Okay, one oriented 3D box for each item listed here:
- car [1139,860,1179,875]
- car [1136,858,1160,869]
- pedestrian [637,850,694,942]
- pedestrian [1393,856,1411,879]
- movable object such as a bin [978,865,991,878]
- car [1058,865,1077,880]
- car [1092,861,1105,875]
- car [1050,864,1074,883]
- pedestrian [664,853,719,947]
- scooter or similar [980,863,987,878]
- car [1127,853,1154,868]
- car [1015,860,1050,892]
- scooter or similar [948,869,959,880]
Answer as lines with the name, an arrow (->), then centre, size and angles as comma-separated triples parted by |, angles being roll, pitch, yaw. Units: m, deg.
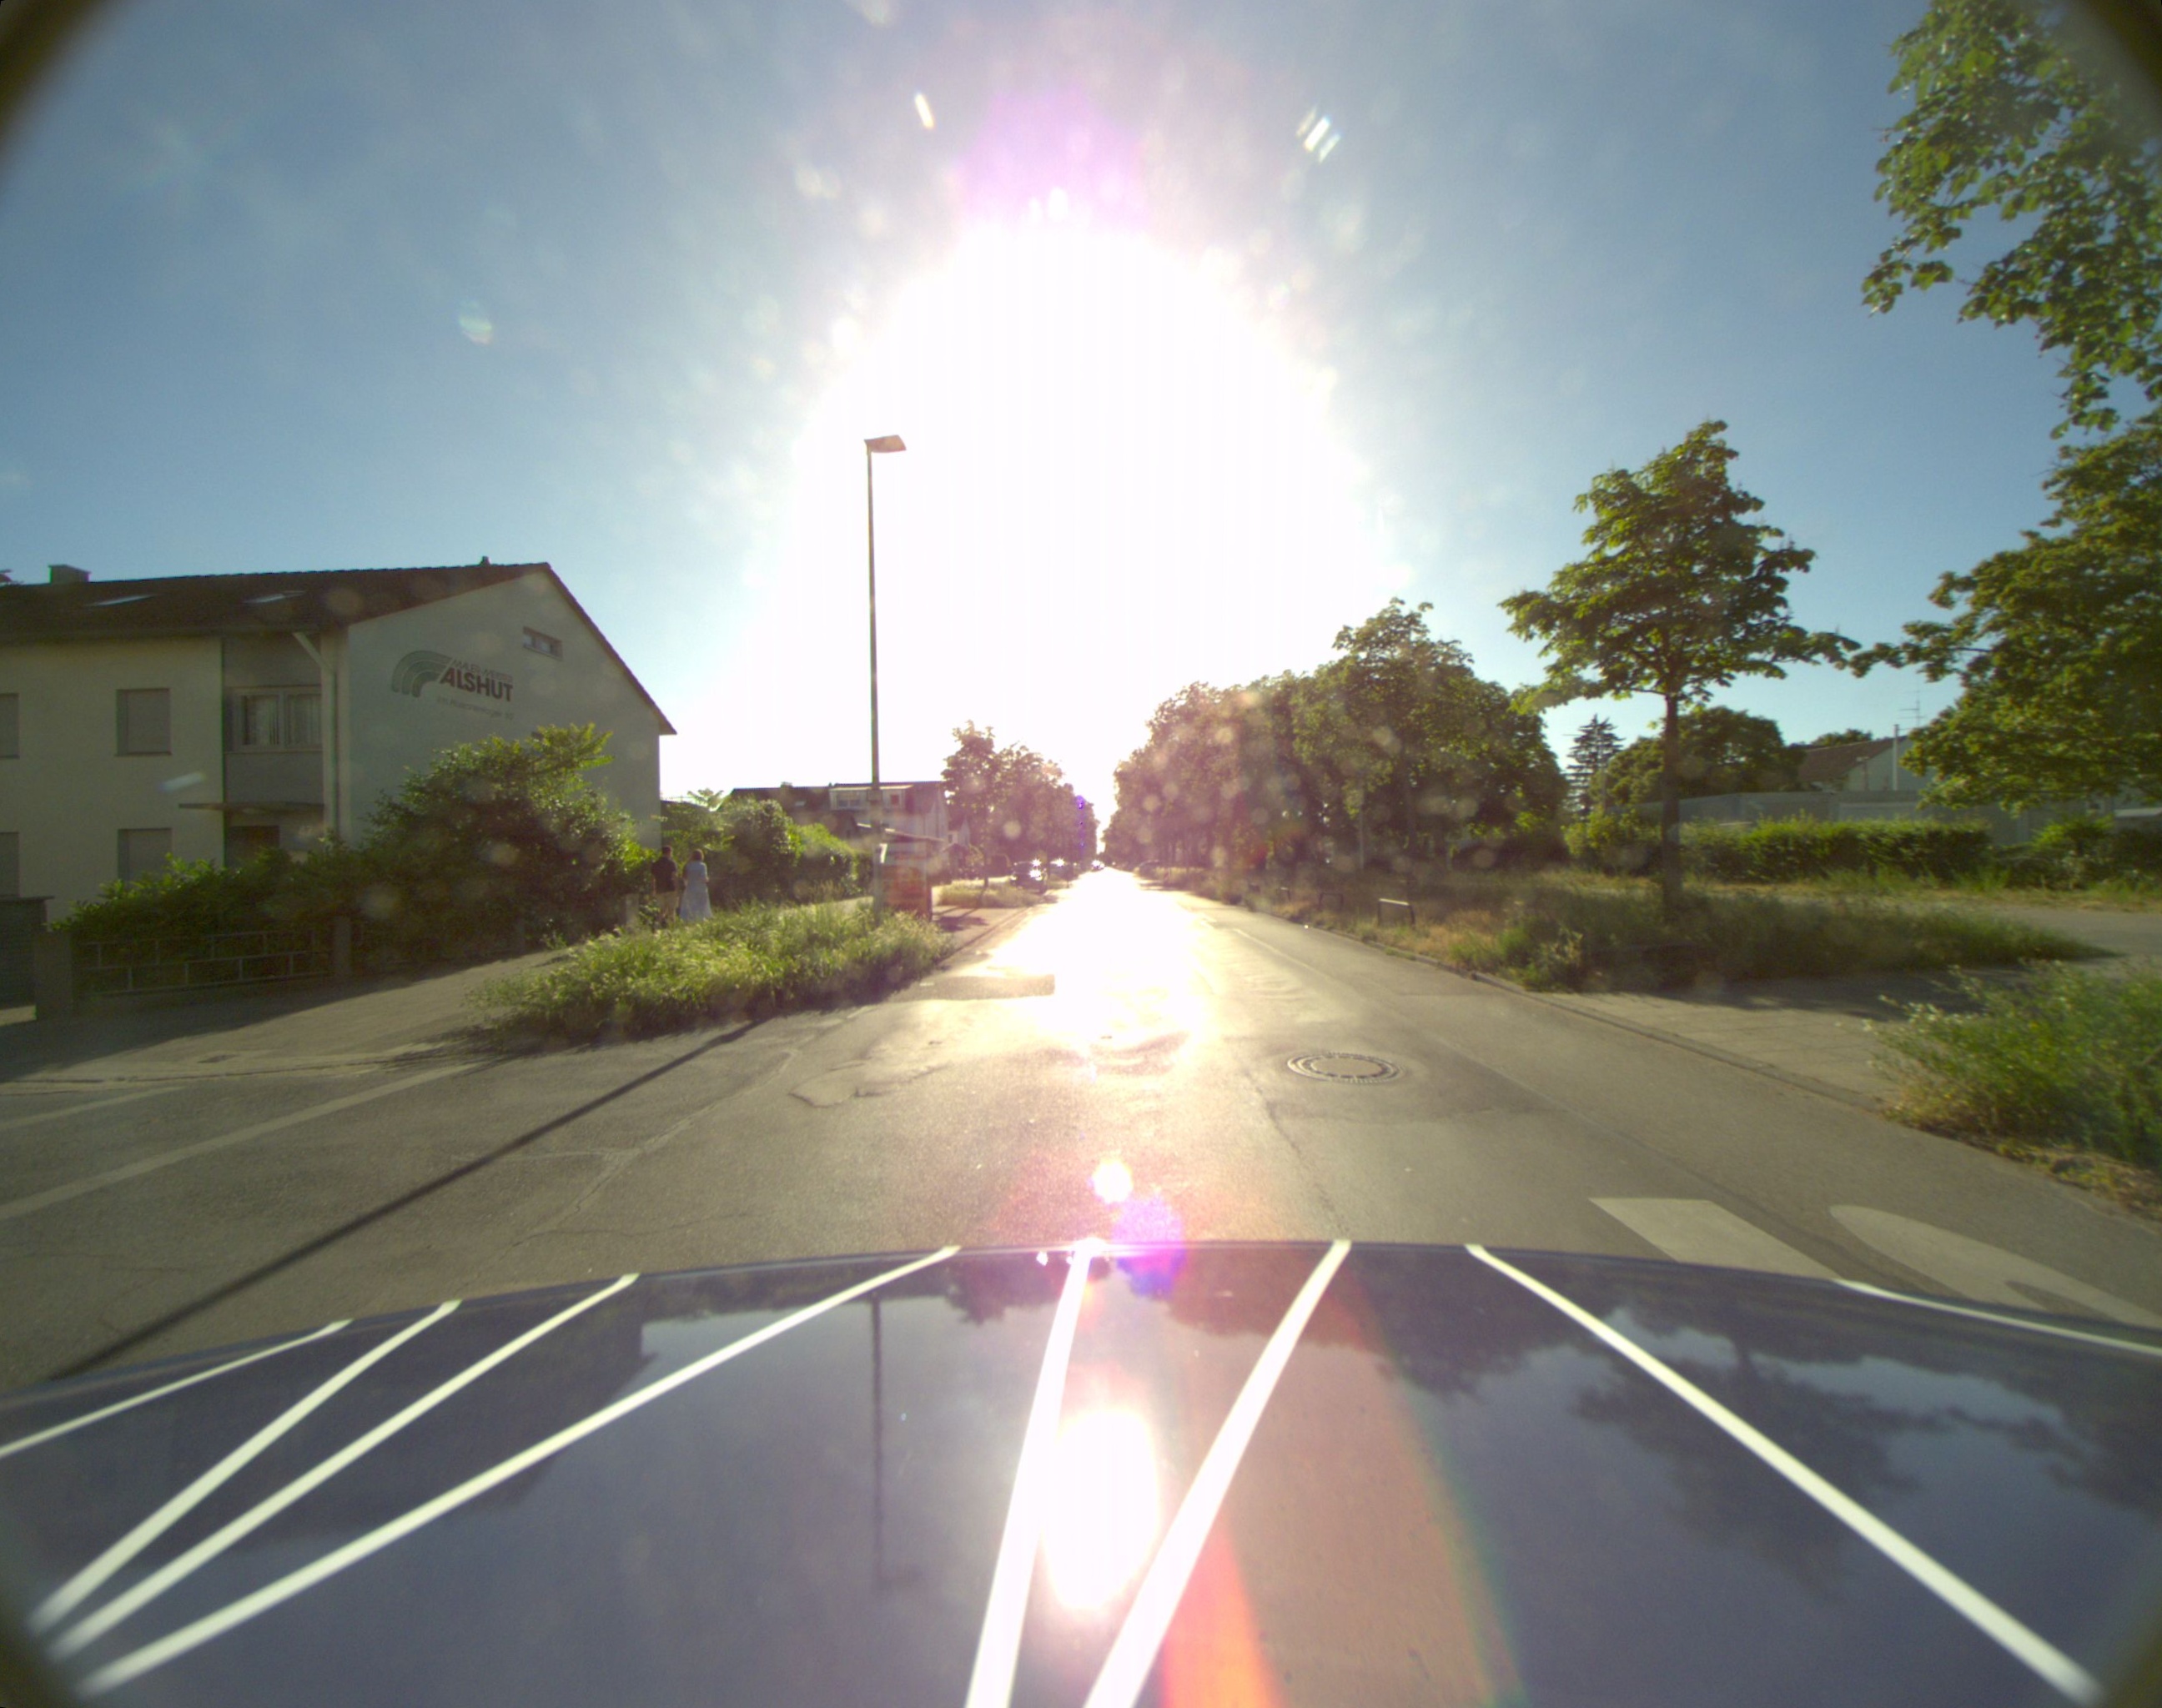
car -> 8.526, 1.477, 83.606 | 4.203, 1.552, 2.000 | -2, 0, 2
car -> 11.427, 1.625, 129.956 | 3.997, 1.739, 1.890 | -2, 0, 1
pedestrian -> -7.959, 0.789, 14.574 | 0.606, 1.722, 0.640 | -2, 0, 18
pedestrian -> 16.846, 0.728, 39.869 | 0.639, 1.150, 0.522 | -5, 0, 0
movable object such as a bin -> -9.701, 1.791, 76.429 | 1.172, 1.286, 0.928 | 0, 0, 1
car -> -1.338, 1.861, 76.508 | 1.733, 1.473, 3.858 | -1, -1, 1
car -> 2.950, 2.292, 125.196 | 1.998, 2.002, 4.000 | -2, 0, 2
car -> -1.651, 1.705, 66.250 | 1.732, 1.568, 3.859 | 0, 0, 4
pedestrian -> -7.370, 0.853, 14.387 | 0.555, 1.722, 0.662 | -2, 1, 18
scooter or similar -> -8.123, 1.368, 63.222 | 0.503, 1.288, 0.461 | 0, 0, -2
car -> 11.453, 1.221, 146.542 | 5.121, 2.596, 2.126 | -2, 0, 4
car -> -2.449, 1.094, 38.996 | 1.497, 1.564, 3.601 | 1, 0, 1
scooter or similar -> -8.466, 1.345, 50.508 | 0.450, 0.712, 1.228 | 3, 0, 1
